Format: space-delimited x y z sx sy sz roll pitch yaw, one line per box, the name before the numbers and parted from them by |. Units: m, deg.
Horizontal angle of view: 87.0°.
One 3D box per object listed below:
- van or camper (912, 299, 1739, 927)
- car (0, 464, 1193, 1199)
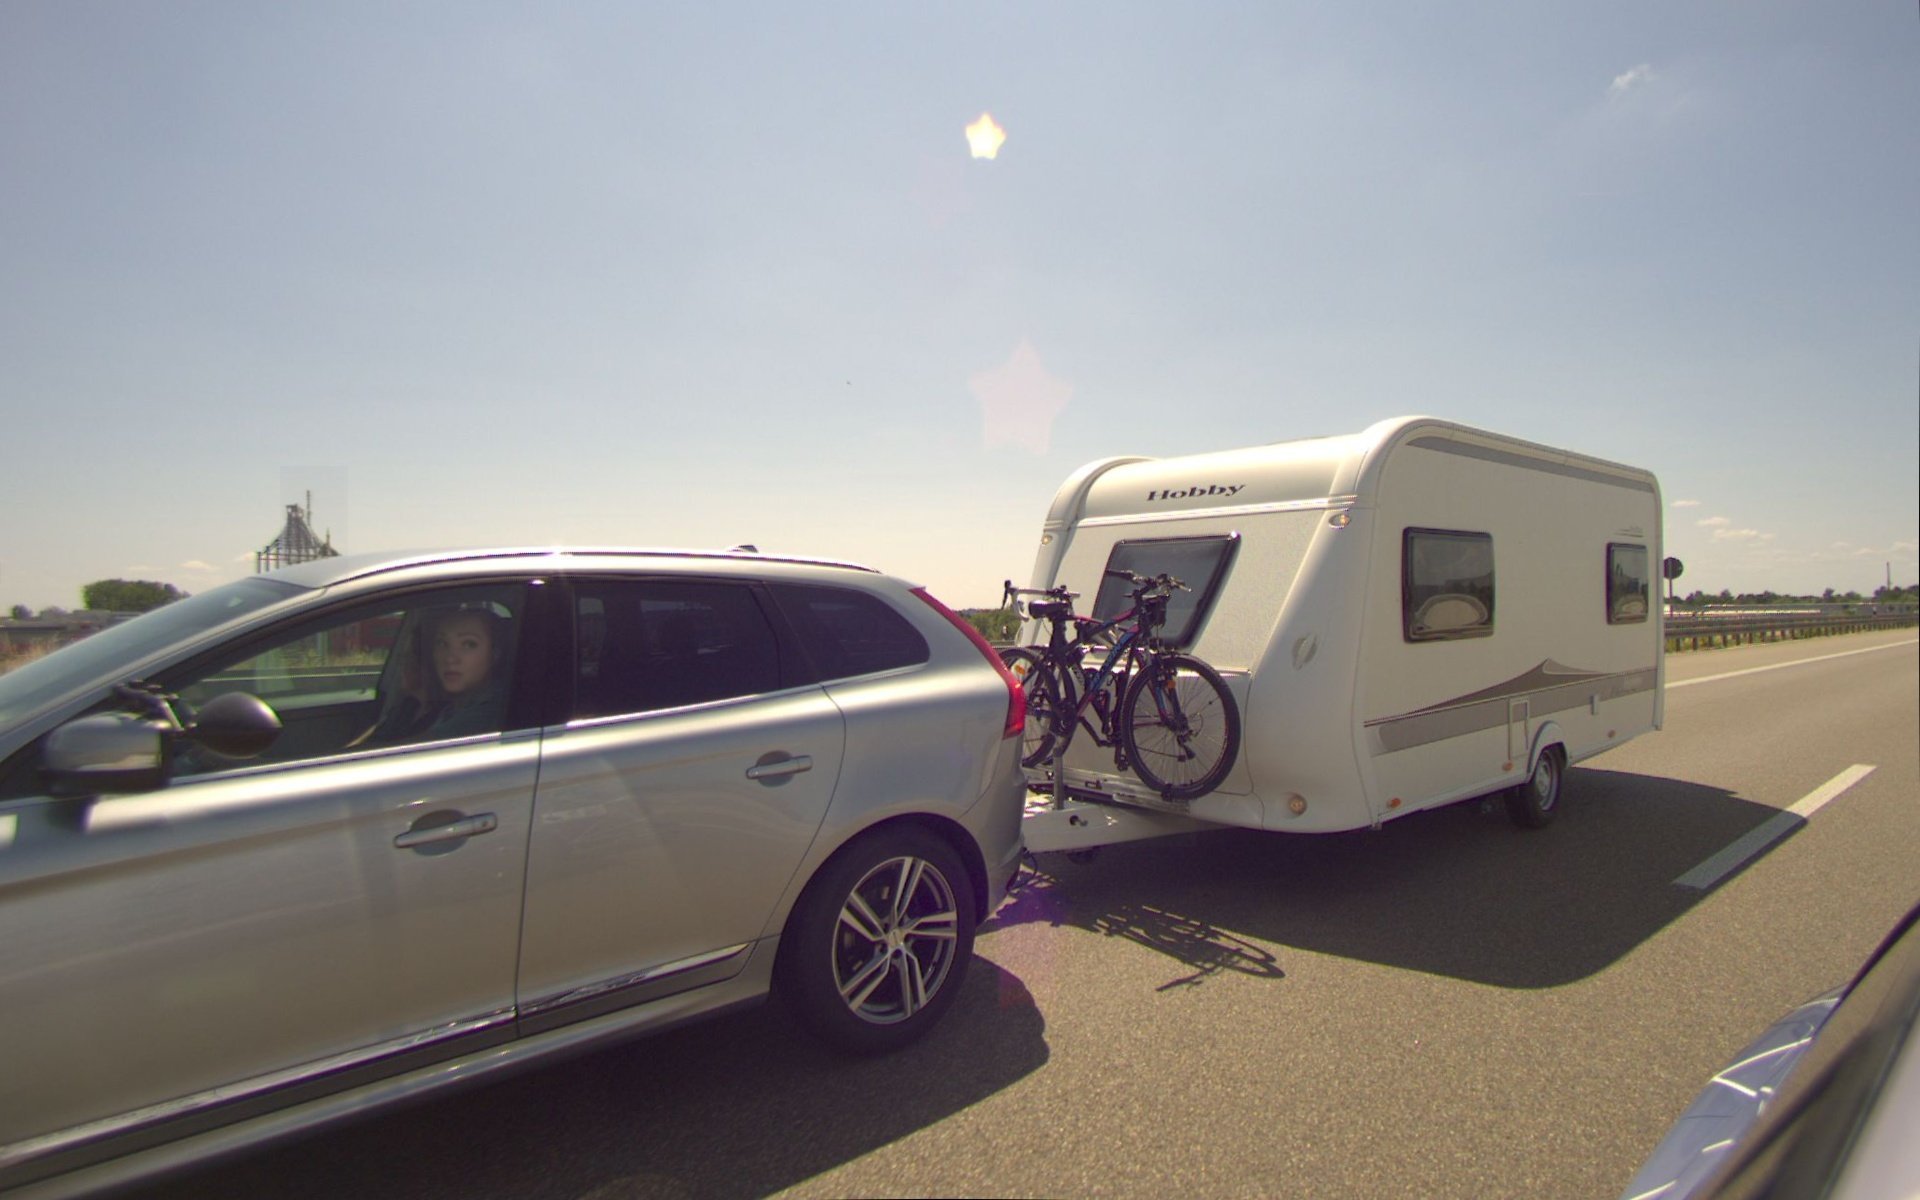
van or camper | 3.421 0.065 7.716 7.680 2.626 2.516 0 0 -41
car | -1.470 0.576 3.295 4.818 1.643 1.884 0 0 -41
